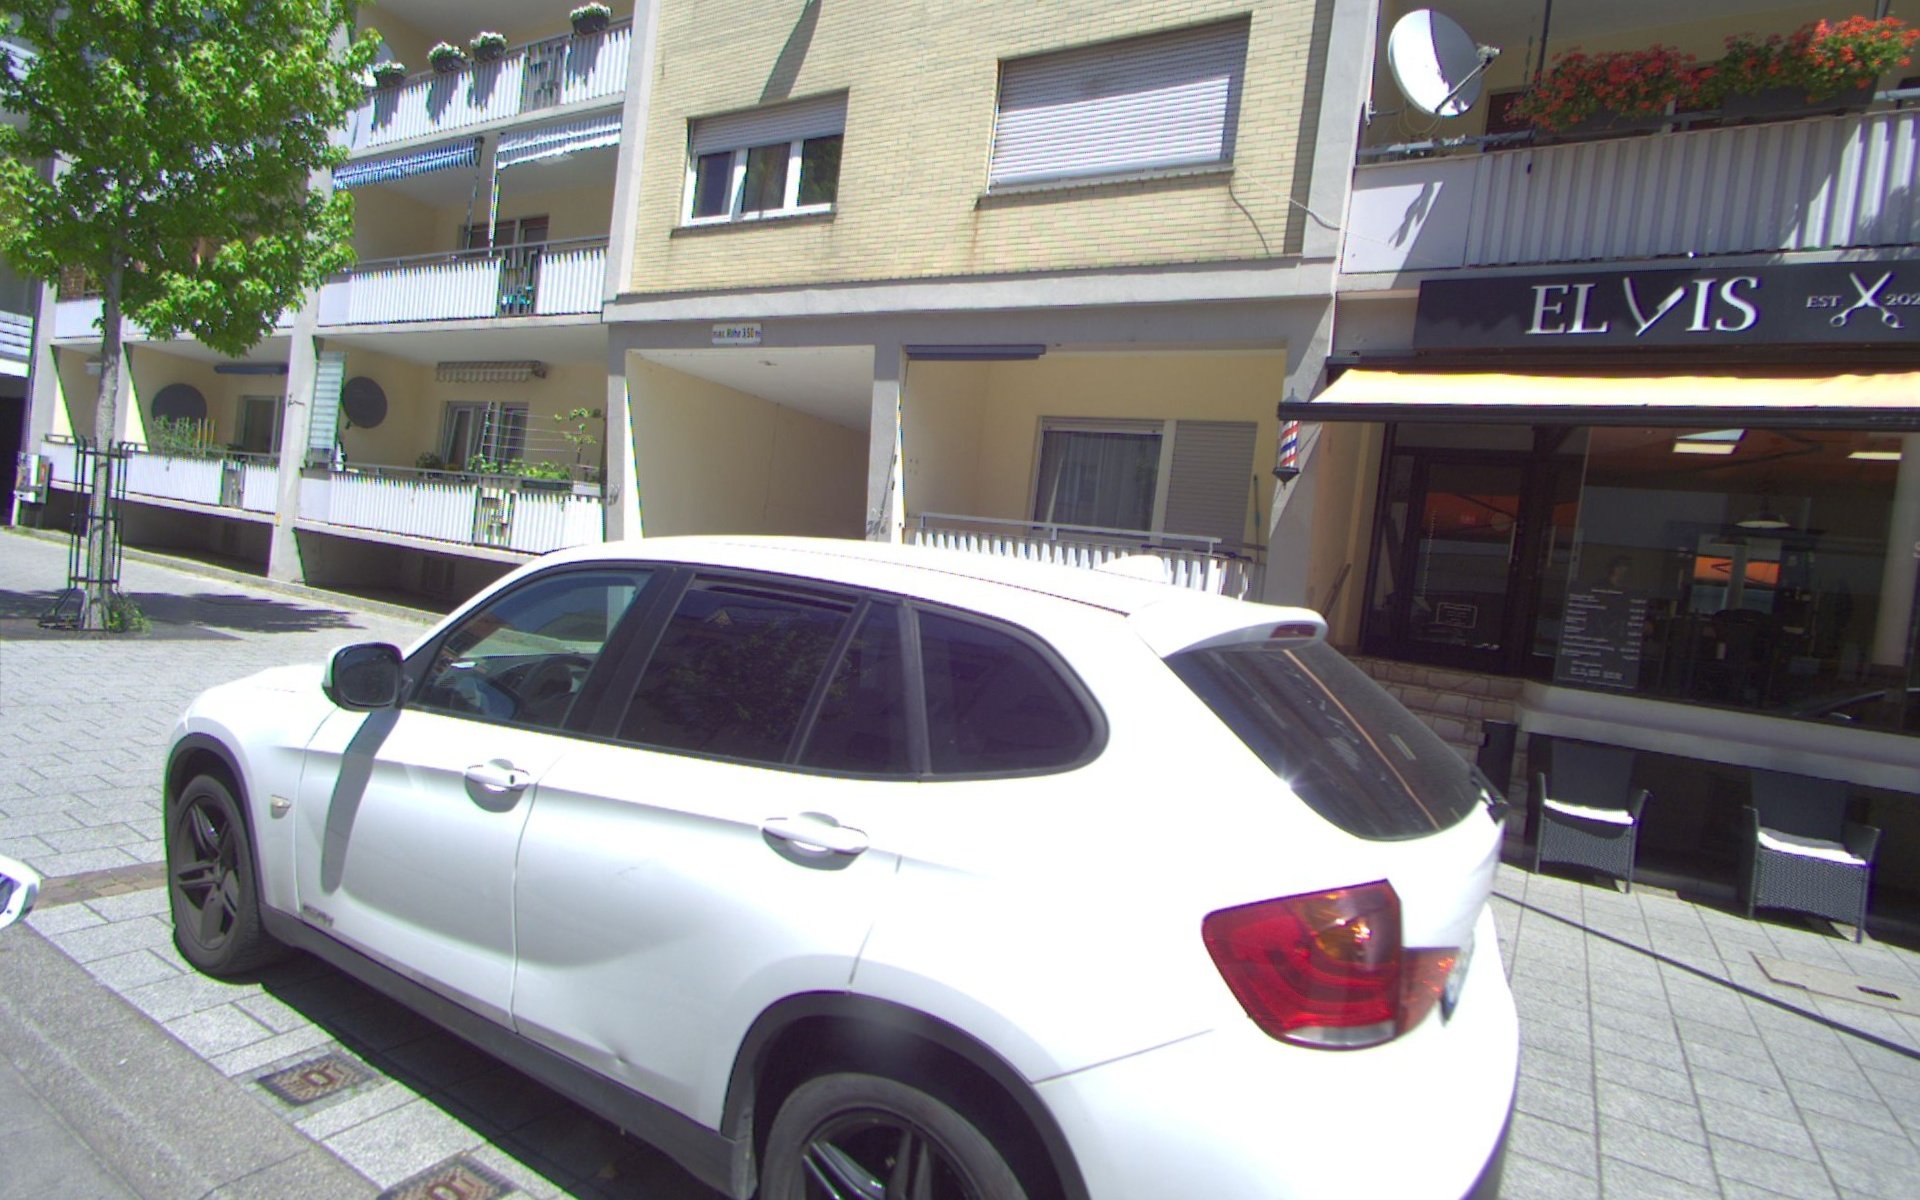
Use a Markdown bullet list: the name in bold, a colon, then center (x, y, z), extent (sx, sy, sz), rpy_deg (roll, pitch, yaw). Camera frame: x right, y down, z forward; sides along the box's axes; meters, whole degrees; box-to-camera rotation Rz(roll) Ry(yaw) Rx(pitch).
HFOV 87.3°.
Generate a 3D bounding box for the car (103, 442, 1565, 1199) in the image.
- **car**: center (-0.708, 0.508, 3.042), extent (4.156, 1.604, 1.722), rpy_deg (7, 3, 33)
